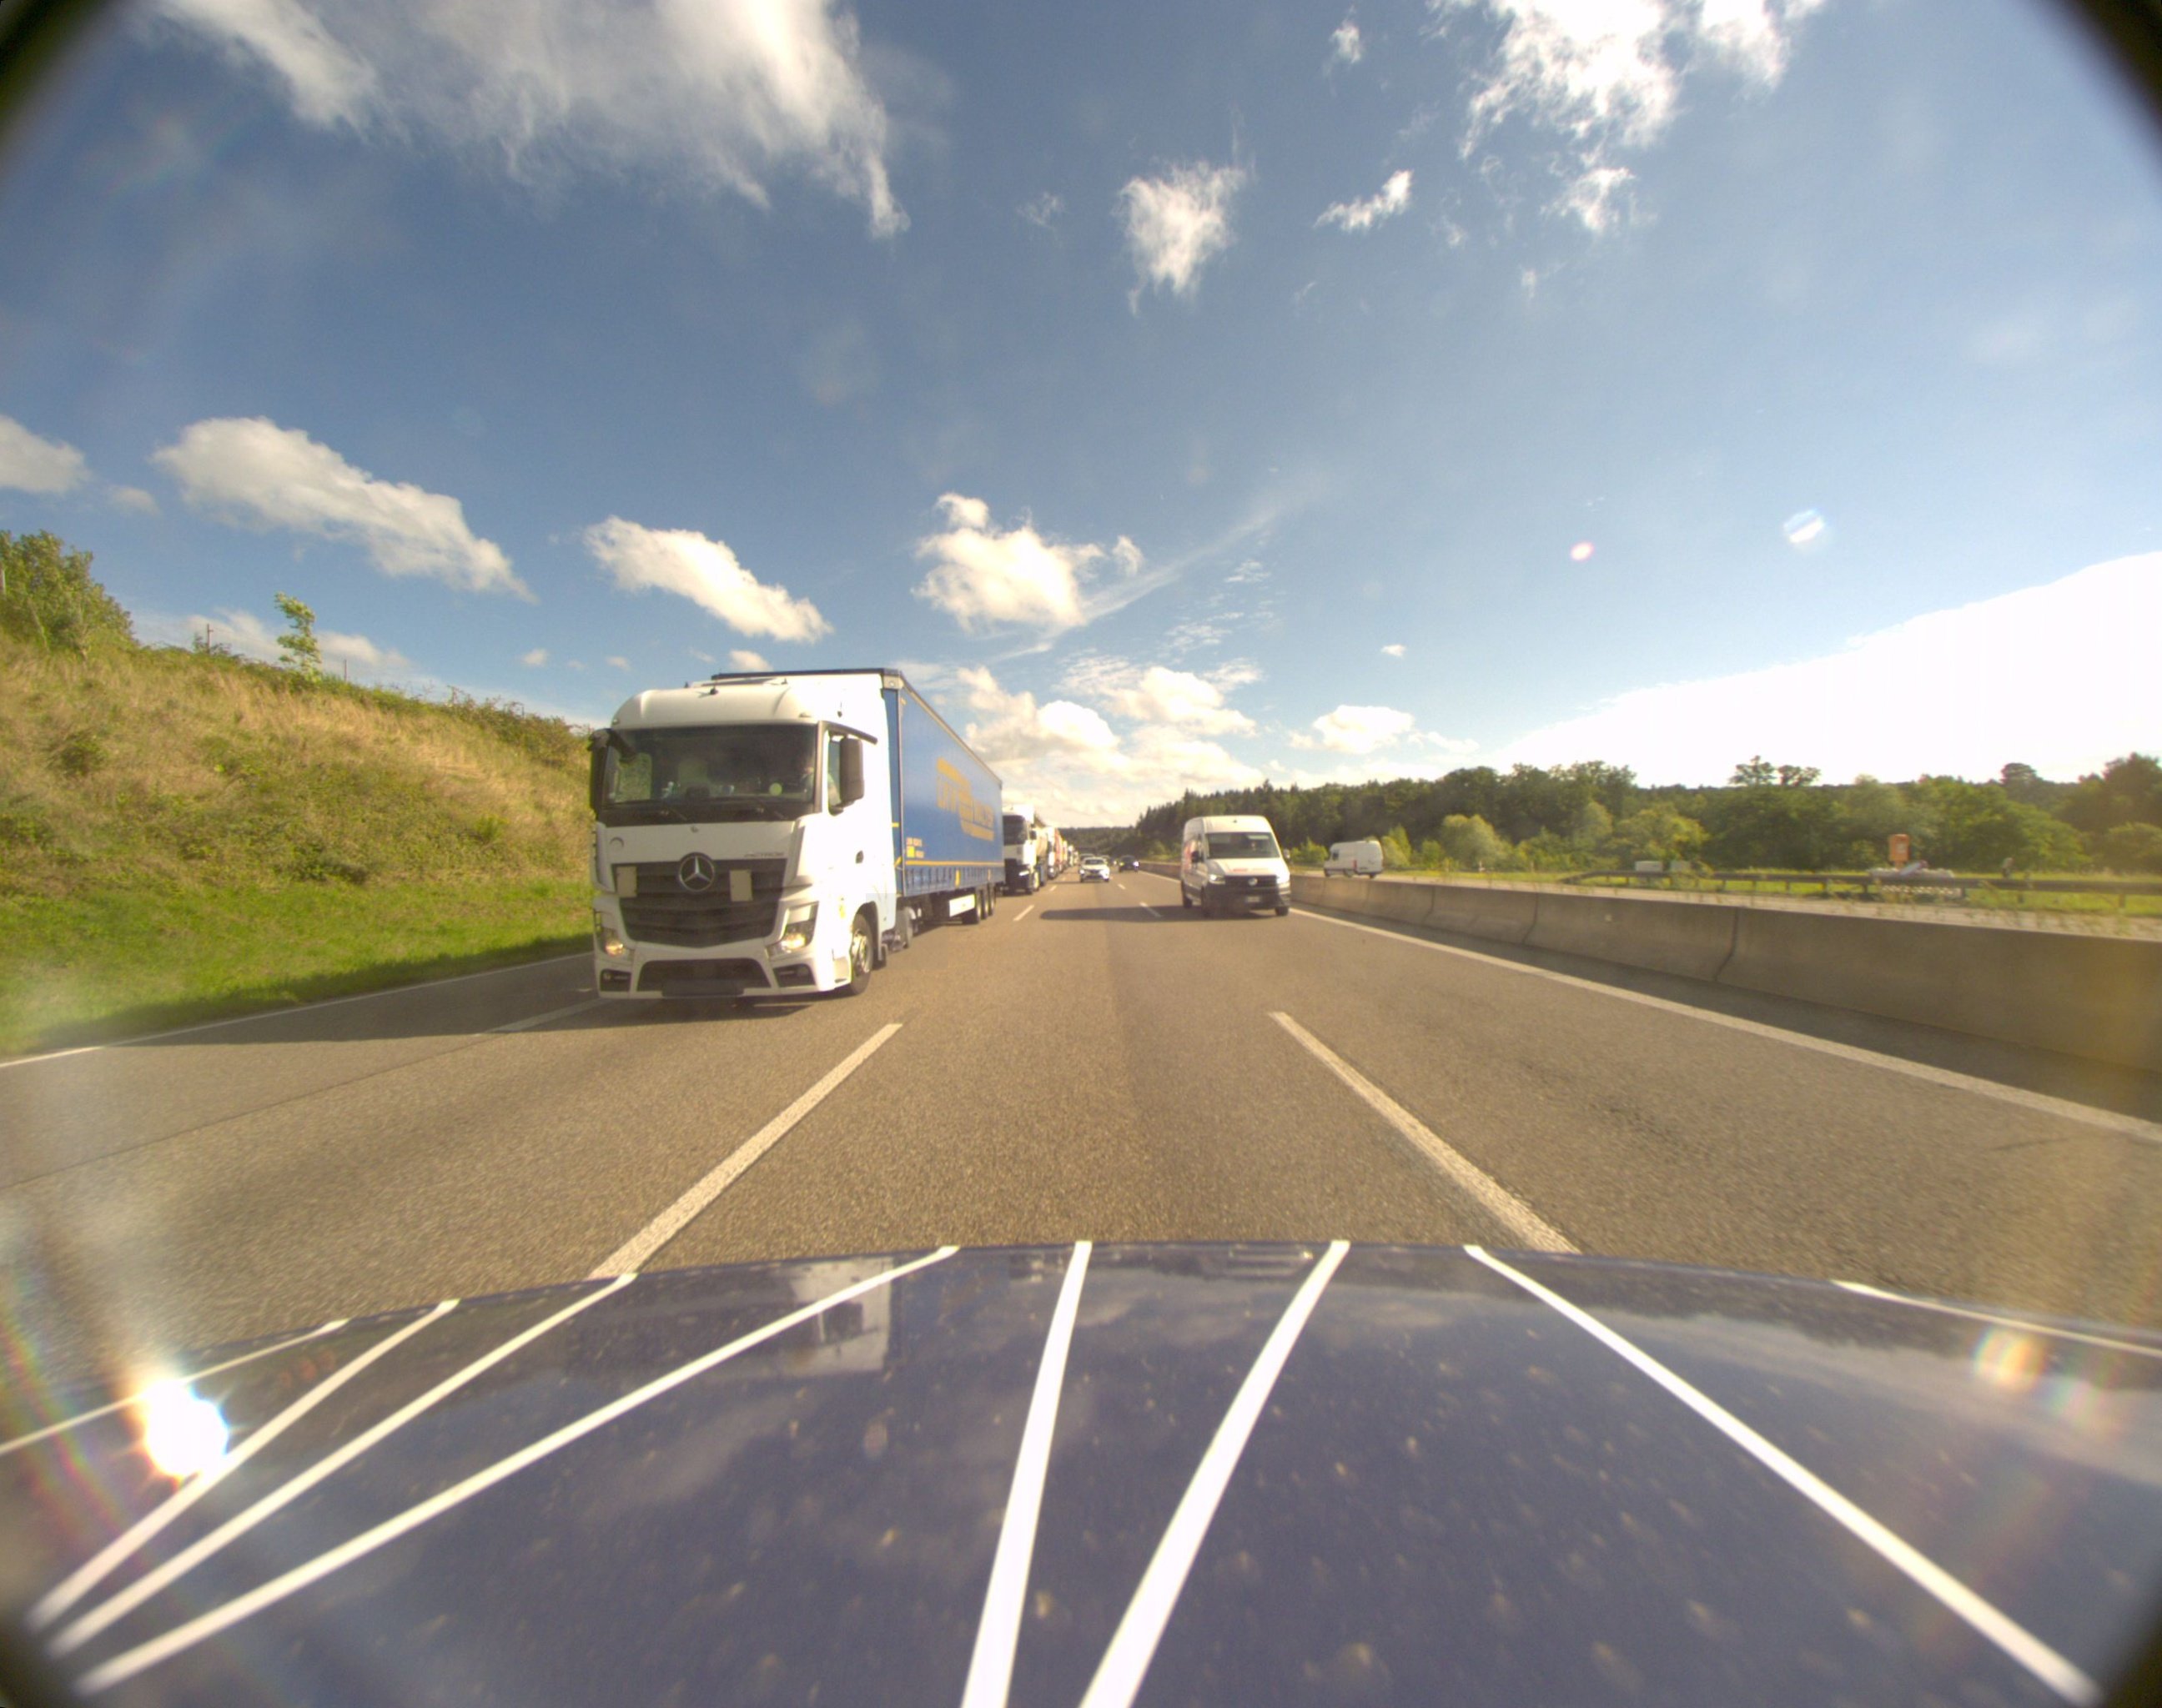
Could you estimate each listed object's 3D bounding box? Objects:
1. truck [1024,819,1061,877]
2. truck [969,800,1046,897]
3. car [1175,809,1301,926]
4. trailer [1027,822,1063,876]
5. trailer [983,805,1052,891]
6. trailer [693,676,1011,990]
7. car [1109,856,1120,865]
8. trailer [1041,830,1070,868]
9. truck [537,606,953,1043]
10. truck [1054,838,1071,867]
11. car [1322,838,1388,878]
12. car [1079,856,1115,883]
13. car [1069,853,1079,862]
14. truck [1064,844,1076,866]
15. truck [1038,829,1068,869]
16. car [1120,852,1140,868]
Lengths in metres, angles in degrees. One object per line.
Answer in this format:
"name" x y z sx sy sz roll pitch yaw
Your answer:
"truck" -2.784 -0.374 56.821 2.371 3.996 6.106 -1 -1 0
"truck" -3.183 -0.236 34.670 2.656 3.902 6.941 -2 0 0
"car" 3.918 0.317 20.232 2.020 2.583 6.182 -2 0 0
"trailer" -2.840 -0.304 63.929 2.334 3.973 14.300 -1 -1 0
"trailer" -3.199 -0.249 41.320 2.653 3.911 11.174 -2 0 0
"trailer" -3.682 -0.318 17.088 2.649 4.074 13.979 -2 0 0
"car" 5.757 1.191 132.095 1.779 1.451 4.158 1 1 1
"trailer" -2.776 -0.546 86.626 2.624 3.977 13.365 -2 0 1
"truck" -3.752 -0.294 10.508 2.655 4.066 6.491 -2 1 0
"truck" -2.590 -0.235 107.252 1.998 4.025 5.869 -2 1 1
"car" 19.504 0.248 54.556 2.038 2.563 7.321 -2 0 0
"car" 1.055 0.928 47.668 2.026 1.510 5.299 -2 0 2
"car" -1.558 0.800 178.057 2.129 2.030 4.697 1 0 2
"truck" -2.066 0.195 144.167 1.998 3.999 7.344 -2 1 0
"truck" -2.857 -0.499 78.932 2.634 3.959 5.956 -2 0 1
"car" 4.962 0.588 77.230 1.779 1.533 4.158 1 1 1
